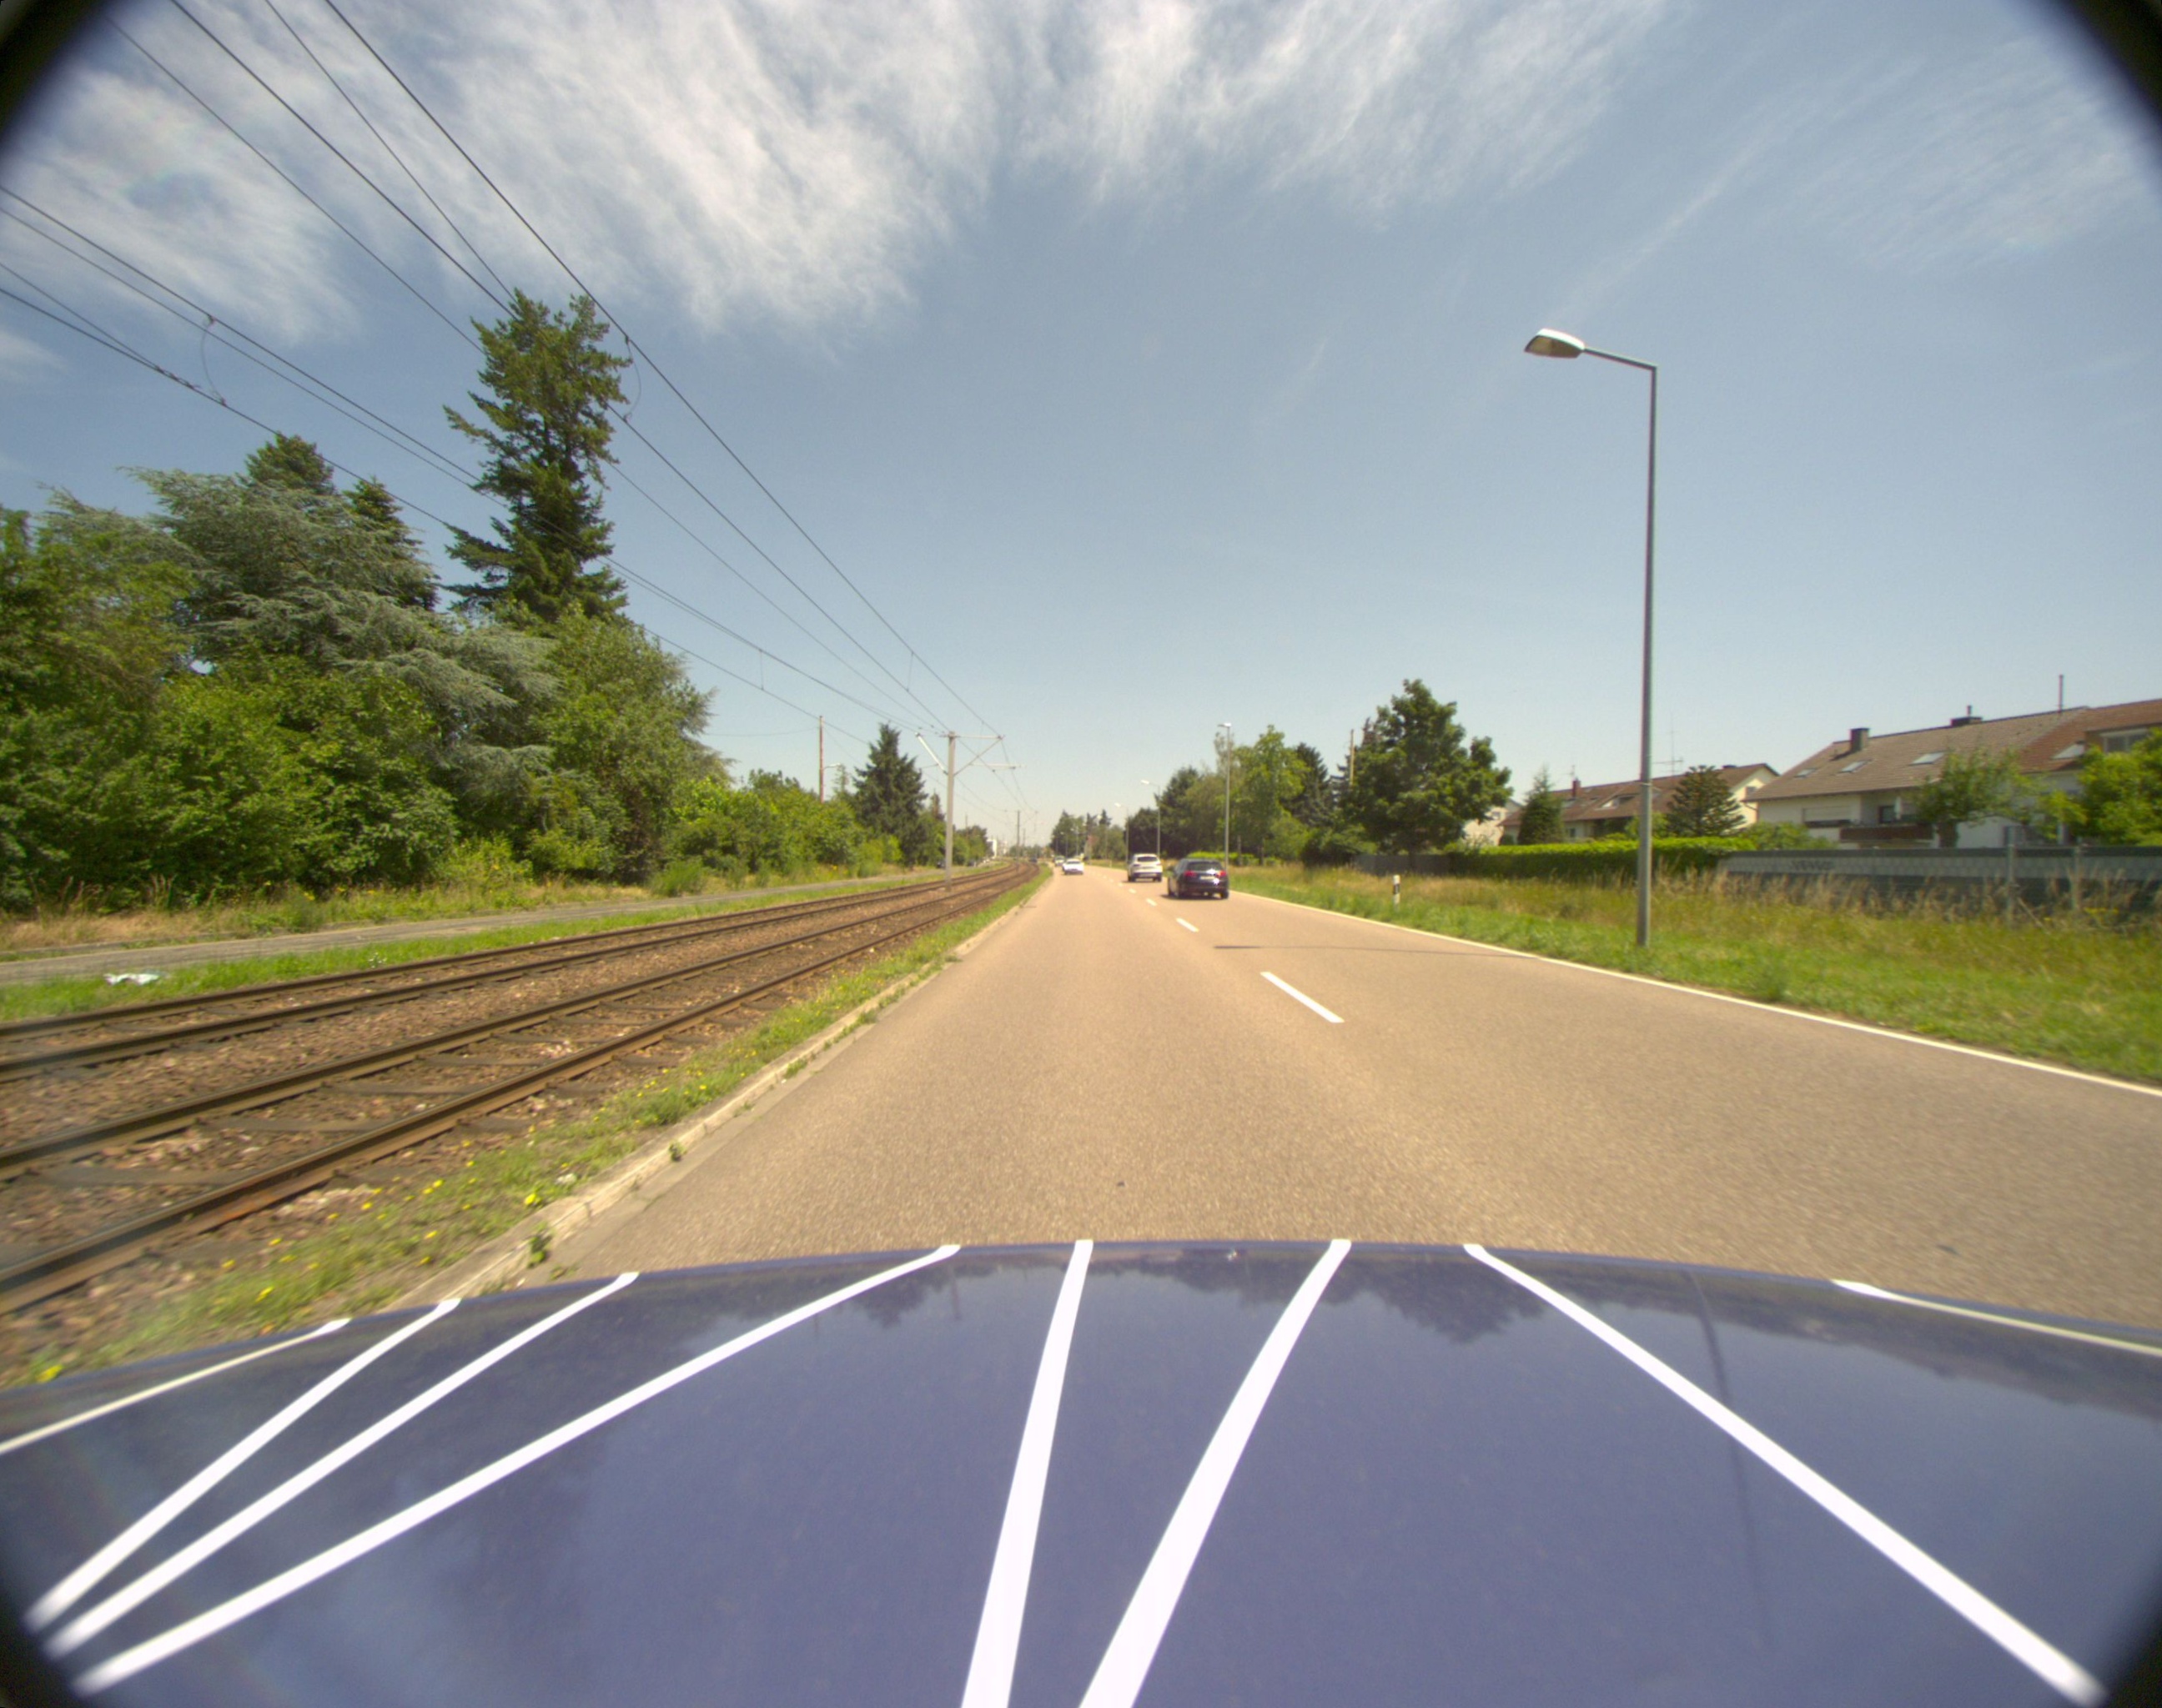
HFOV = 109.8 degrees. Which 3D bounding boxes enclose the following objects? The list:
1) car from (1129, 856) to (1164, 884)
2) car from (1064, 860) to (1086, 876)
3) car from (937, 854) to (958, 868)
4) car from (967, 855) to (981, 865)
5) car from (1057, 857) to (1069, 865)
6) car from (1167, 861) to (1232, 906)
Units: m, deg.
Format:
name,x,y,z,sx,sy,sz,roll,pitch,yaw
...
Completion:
name,x,y,z,sx,sy,sz,roll,pitch,yaw
car,4.188,0.992,48.988,1.844,1.749,4.932,0,0,0
car,-0.593,1.317,73.251,1.955,1.467,4.360,0,0,-2
car,-17.649,0.896,100.690,1.998,1.710,4.000,-2,1,0
car,-18.637,0.979,132.222,1.946,1.685,3.998,-2,1,-3
car,-3.245,1.227,136.986,1.892,1.456,3.998,0,0,-4
car,4.375,1.045,28.685,1.740,1.487,4.829,0,0,0
